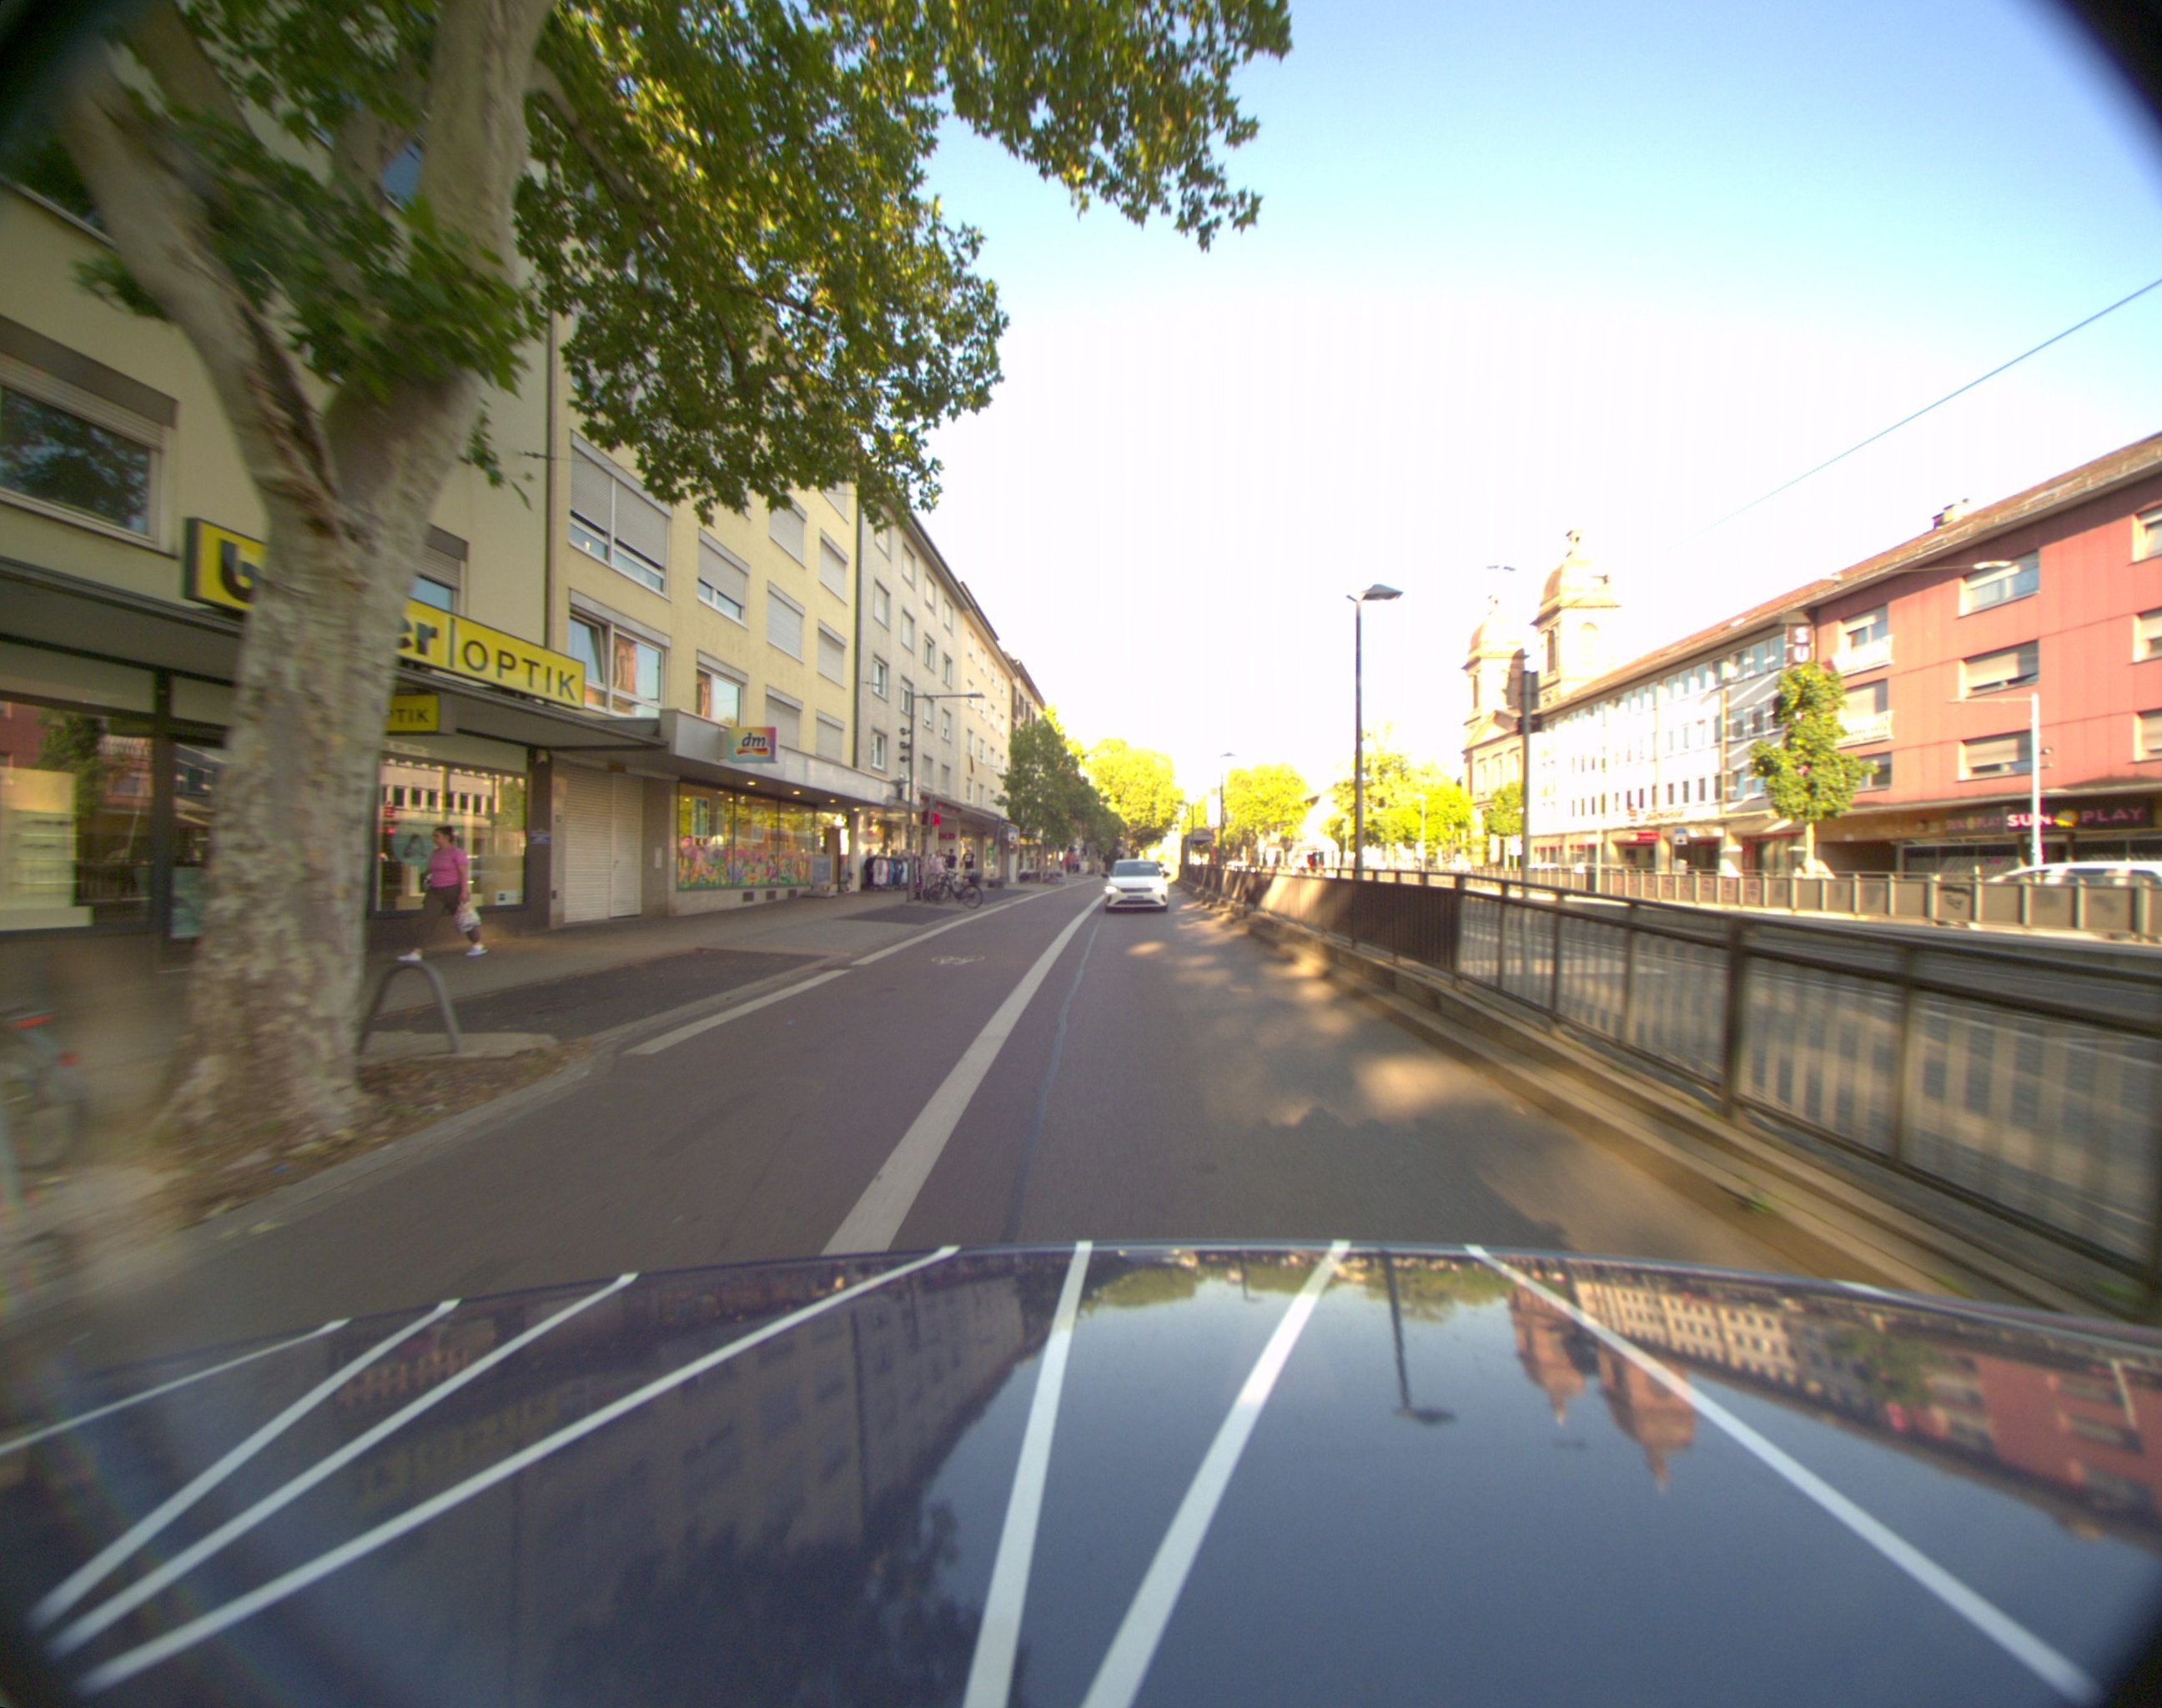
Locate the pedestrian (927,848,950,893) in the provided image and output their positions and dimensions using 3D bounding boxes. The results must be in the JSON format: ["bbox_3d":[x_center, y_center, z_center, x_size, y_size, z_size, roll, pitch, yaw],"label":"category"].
[{"bbox_3d":[-5.302,0.621,28.308,0.547,1.619,0.896,2,0,5],"label":"pedestrian"}]

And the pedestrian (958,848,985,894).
[{"bbox_3d":[-4.414,0.671,30.745,0.774,1.789,0.931,3,0,6],"label":"pedestrian"}]

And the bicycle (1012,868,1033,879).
[{"bbox_3d":[-3.406,1.112,43.877,0.840,0.569,1.758,1,-1,-18],"label":"bicycle"}]

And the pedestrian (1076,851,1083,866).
[{"bbox_3d":[-0.176,0.502,87.443,0.693,1.665,0.659,2,1,5],"label":"pedestrian"}]

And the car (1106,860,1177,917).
[{"bbox_3d":[1.710,0.917,21.794,1.826,1.433,3.829,-1,0,4],"label":"car"}]

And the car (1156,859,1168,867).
[{"bbox_3d":[13.927,1.553,130.957,1.718,1.390,4.000,-2,0,0],"label":"car"}]

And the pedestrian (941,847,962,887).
[{"bbox_3d":[-5.557,0.567,32.546,0.569,1.665,1.070,2,0,5],"label":"pedestrian"}]

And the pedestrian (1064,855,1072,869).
[{"bbox_3d":[-1.531,0.909,88.858,0.851,1.645,0.916,-2,1,4],"label":"pedestrian"}]

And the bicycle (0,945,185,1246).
[{"bbox_3d":[-5.196,1.014,3.305,1.721,1.111,0.745,0,4,5],"label":"bicycle"}]

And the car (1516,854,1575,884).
[{"bbox_3d":[25.958,0.817,42.430,4.008,1.477,1.739,-2,1,-43],"label":"car"}]

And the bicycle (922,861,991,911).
[{"bbox_3d":[-3.675,0.931,22.420,1.788,1.304,0.694,5,1,16],"label":"bicycle"}]

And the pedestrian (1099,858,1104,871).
[{"bbox_3d":[2.593,1.336,95.535,0.634,1.645,0.651,-2,1,4],"label":"pedestrian"}]

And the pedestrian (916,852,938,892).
[{"bbox_3d":[-5.904,0.678,29.109,0.542,1.493,0.896,2,0,5],"label":"pedestrian"}]

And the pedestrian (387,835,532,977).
[{"bbox_3d":[-8.193,0.645,10.078,0.969,1.753,1.134,1,1,5],"label":"pedestrian"}]

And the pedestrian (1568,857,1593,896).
[{"bbox_3d":[23.480,1.063,35.732,0.726,1.777,0.766,-2,1,-38],"label":"pedestrian"}]

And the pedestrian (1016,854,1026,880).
[{"bbox_3d":[-3.670,0.808,46.515,0.490,1.558,0.648,2,1,6],"label":"pedestrian"}]

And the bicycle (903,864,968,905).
[{"bbox_3d":[-4.493,0.937,23.451,1.795,1.118,0.663,5,1,-23],"label":"bicycle"}]

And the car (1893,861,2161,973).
[{"bbox_3d":[17.923,1.006,13.663,1.998,1.707,4.437,0,0,3],"label":"car"}]

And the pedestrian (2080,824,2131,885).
[{"bbox_3d":[31.336,0.009,23.252,0.743,1.838,0.590,0,0,-1],"label":"pedestrian"}]

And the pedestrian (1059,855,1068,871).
[{"bbox_3d":[-1.890,0.964,81.450,0.851,1.645,0.916,-2,1,4],"label":"pedestrian"}]

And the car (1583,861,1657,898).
[{"bbox_3d":[25.215,1.165,35.488,4.007,1.521,1.865,-2,1,-40],"label":"car"}]

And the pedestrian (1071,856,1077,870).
[{"bbox_3d":[-0.890,1.102,94.603,0.634,1.645,0.651,-2,1,4],"label":"pedestrian"}]

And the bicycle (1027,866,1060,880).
[{"bbox_3d":[-2.141,1.114,43.753,1.762,0.773,0.702,1,0,-18],"label":"bicycle"}]
